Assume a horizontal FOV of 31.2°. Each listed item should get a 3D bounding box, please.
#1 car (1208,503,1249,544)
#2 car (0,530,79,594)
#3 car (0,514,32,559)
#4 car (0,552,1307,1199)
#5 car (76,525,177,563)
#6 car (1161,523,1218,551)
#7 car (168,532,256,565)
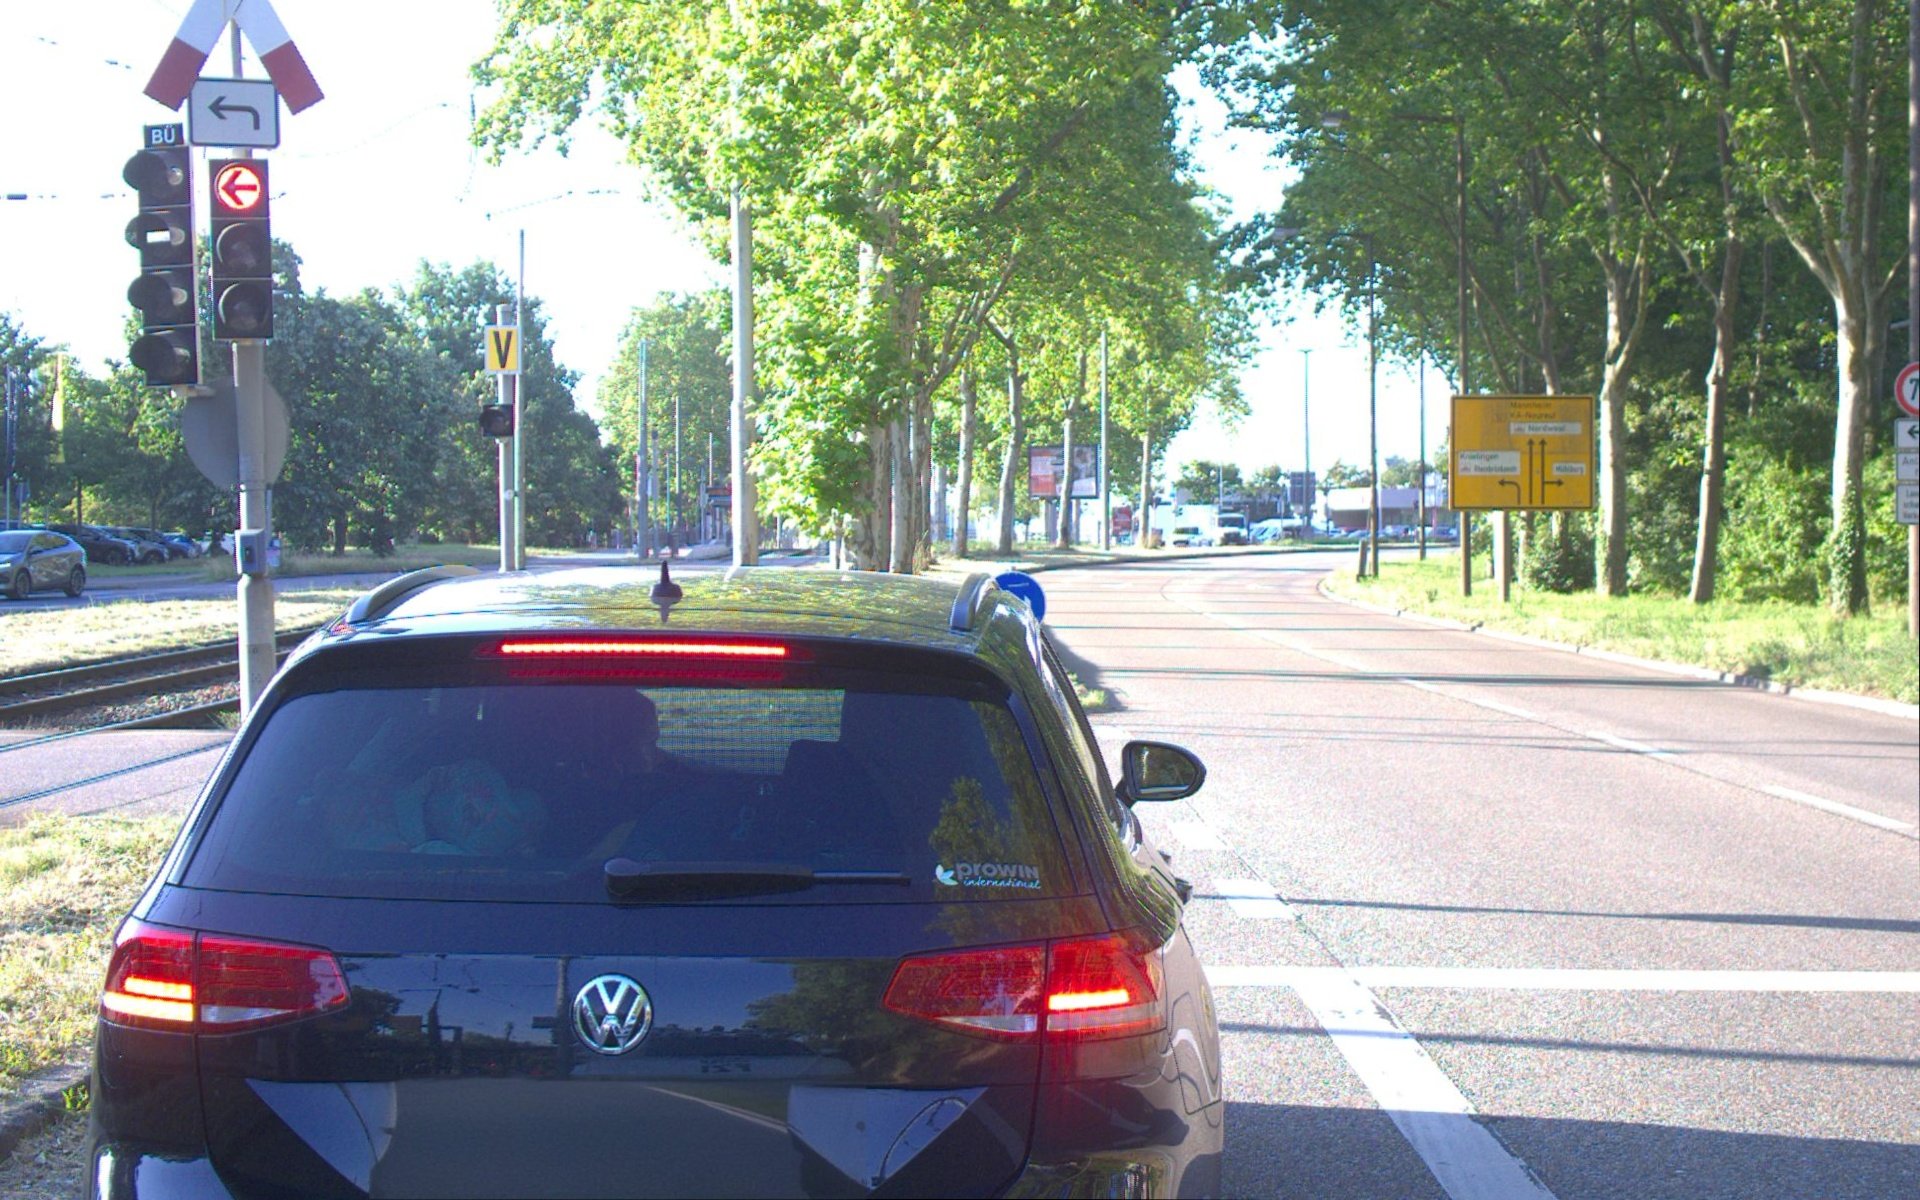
[{"bbox_3d":[16.785,-4.788,215.032,2.095,2.453,5.853,1,1,1],"label":"car"},{"bbox_3d":[-23.039,-0.944,83.115,1.863,1.476,4.170,1,1,9],"label":"car"},{"bbox_3d":[-35.920,-2.328,124.993,3.986,1.615,1.744,1,1,-5],"label":"car"},{"bbox_3d":[-0.474,0.659,6.405,1.795,1.459,3.583,1,1,-1],"label":"car"},{"bbox_3d":[-36.123,-2.437,149.061,3.986,1.615,1.744,1,1,-5],"label":"car"},{"bbox_3d":[12.223,-3.362,182.822,1.864,1.476,4.087,1,1,21],"label":"car"},{"bbox_3d":[-36.516,-2.507,167.974,3.986,1.550,1.744,1,1,-4],"label":"car"}]
